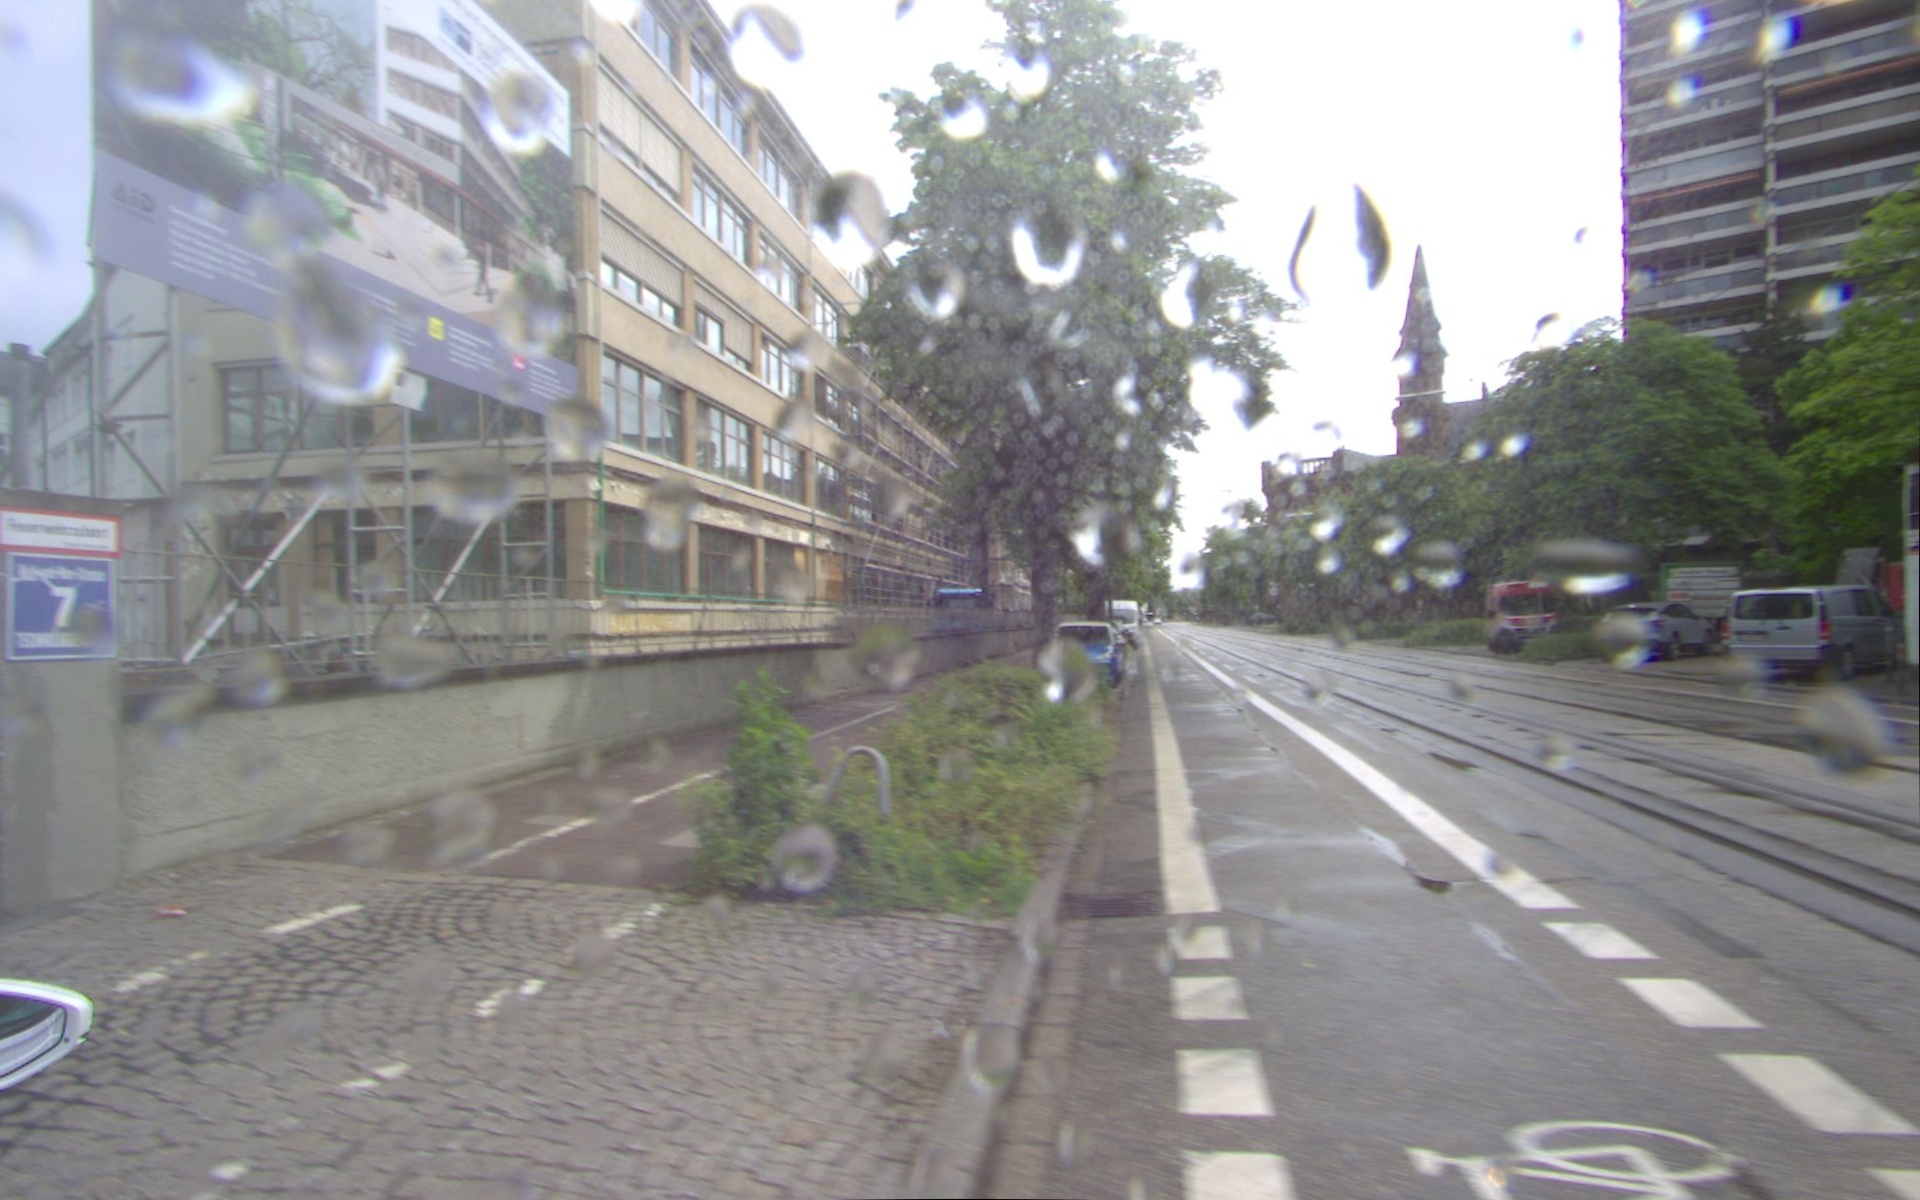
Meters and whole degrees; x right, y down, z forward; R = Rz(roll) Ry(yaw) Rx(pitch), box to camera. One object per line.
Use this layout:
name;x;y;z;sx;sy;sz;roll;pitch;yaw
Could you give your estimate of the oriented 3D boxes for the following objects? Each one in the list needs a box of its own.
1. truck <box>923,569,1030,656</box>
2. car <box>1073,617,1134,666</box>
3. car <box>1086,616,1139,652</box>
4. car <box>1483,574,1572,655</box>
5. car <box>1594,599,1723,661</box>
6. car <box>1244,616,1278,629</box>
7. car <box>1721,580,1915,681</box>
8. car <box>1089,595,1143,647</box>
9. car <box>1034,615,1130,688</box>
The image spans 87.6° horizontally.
truck;1.006;0.670;46.635;3.181;3.572;9.909;1;-2;11
car;4.779;1.383;33.792;1.853;1.489;4.001;1;-2;6
car;6.705;1.468;43.762;1.785;1.489;4.068;1;-1;15
car;20.216;0.511;35.907;2.264;2.668;5.466;0;0;24
car;19.946;0.824;28.562;3.994;1.586;1.773;-1;0;-35
car;39.654;2.961;131.793;4.219;1.673;1.998;1;-2;16
car;18.164;0.608;21.149;4.582;1.921;1.926;0;0;-33
car;8.148;1.133;52.390;2.547;2.505;6.154;1;-2;9
car;2.886;1.154;22.984;1.854;1.489;4.000;1;-2;11
